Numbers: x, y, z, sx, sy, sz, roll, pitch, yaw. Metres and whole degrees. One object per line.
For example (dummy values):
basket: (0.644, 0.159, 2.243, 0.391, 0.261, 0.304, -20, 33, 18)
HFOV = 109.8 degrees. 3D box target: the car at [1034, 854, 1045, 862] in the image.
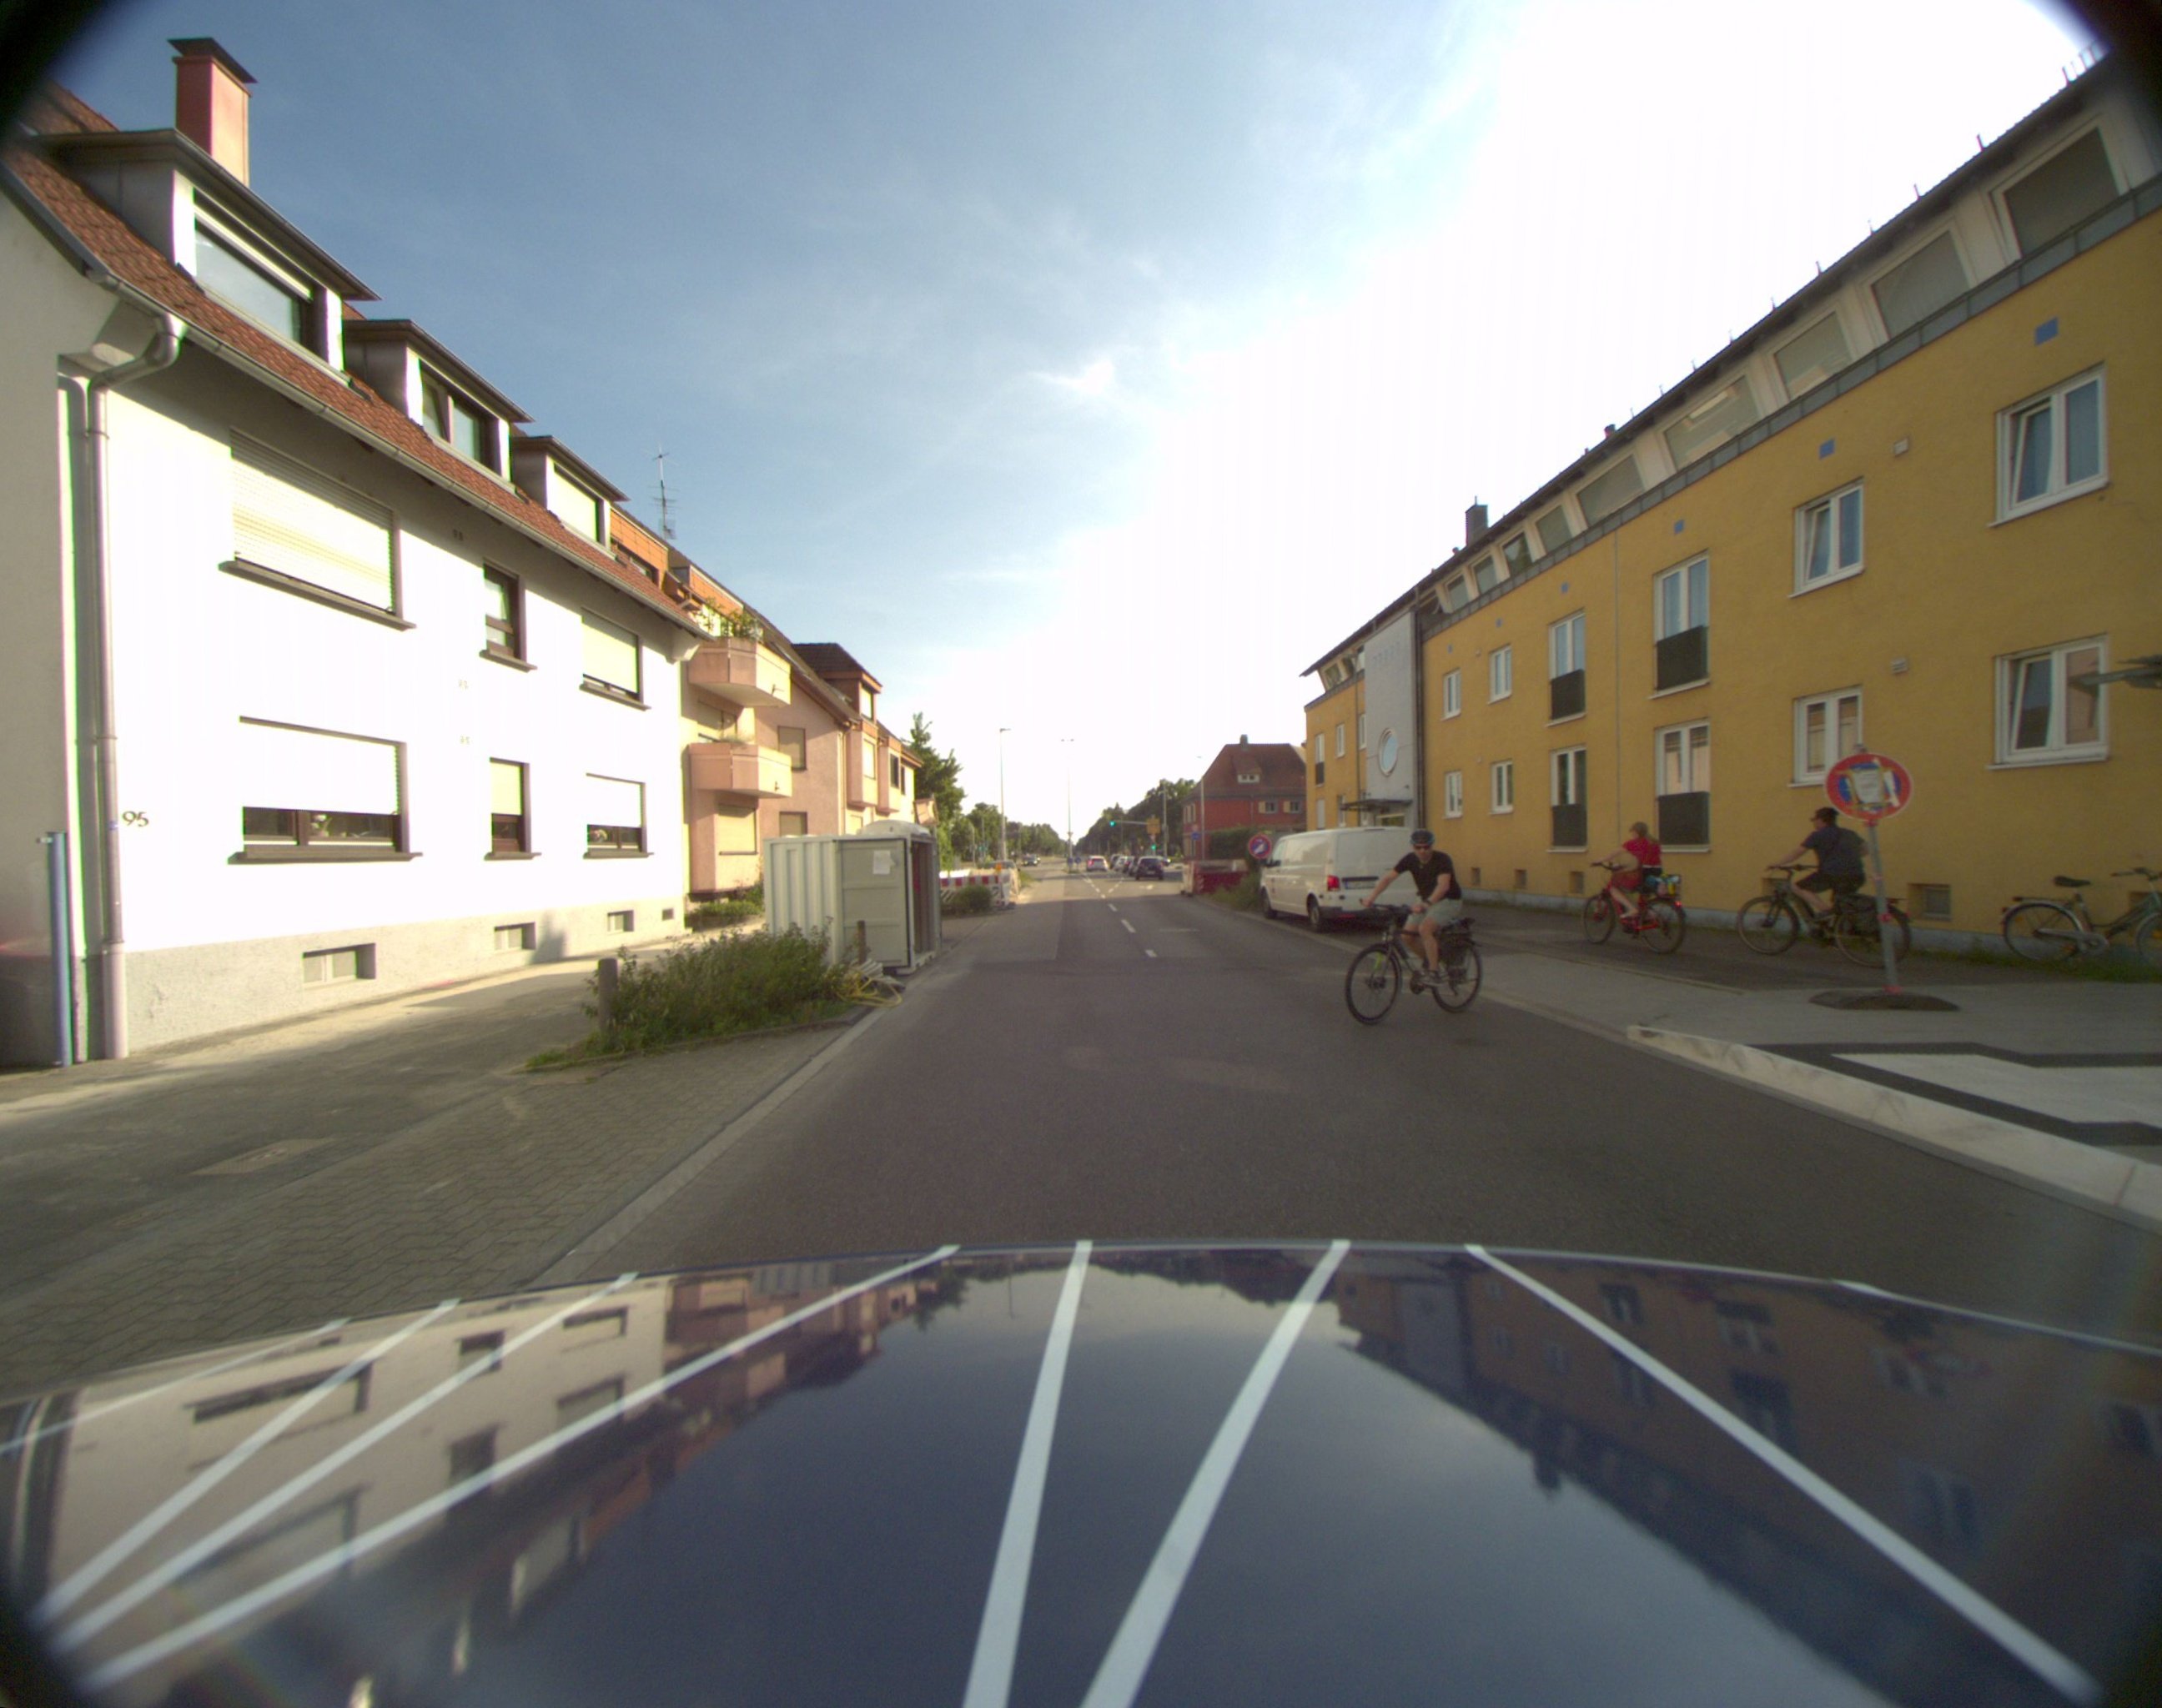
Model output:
car: (-7.310, 0.672, 133.469, 1.795, 1.433, 4.000, 1, 0, -1)

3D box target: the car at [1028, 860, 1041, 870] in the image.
car: (-6.785, 1.618, 111.184, 1.795, 1.433, 4.000, 1, 0, -1)

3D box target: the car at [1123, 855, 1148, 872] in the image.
car: (4.743, 0.805, 66.368, 1.795, 1.433, 3.999, -2, 0, -1)

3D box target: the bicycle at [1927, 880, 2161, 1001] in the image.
bicycle: (10.028, 0.808, 7.727, 0.718, 0.991, 1.907, -2, 0, 1)

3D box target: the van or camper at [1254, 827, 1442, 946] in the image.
van or camper: (5.203, 0.558, 15.684, 1.999, 1.991, 4.920, -2, 0, -2)

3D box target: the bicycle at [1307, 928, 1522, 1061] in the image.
bicycle: (3.010, 1.185, 6.786, 2.030, 0.849, 0.679, -2, 0, -30)

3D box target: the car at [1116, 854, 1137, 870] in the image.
car: (4.482, 0.777, 75.587, 1.795, 1.433, 4.000, -2, 0, -1)

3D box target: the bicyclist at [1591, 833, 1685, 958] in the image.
bicyclist: (7.469, 0.539, 10.220, 0.671, 1.594, 0.727, -2, 0, -5)

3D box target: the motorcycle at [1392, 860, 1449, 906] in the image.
motorcycle: (9.262, 0.772, 20.794, 0.583, 1.176, 1.877, -2, 0, -4)

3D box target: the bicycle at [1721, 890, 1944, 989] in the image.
bicycle: (8.527, 0.925, 8.757, 0.692, 0.907, 1.873, -2, 0, 0)

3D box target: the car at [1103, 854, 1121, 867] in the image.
car: (3.504, 0.712, 86.635, 1.795, 1.433, 3.999, -2, 0, -1)

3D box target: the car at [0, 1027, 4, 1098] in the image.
car: (-9.912, 1.087, 4.782, 3.749, 1.557, 1.795, -2, 0, 2)

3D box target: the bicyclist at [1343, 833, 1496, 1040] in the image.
bicyclist: (3.005, 0.674, 6.773, 0.879, 1.680, 0.844, -2, 1, -30)

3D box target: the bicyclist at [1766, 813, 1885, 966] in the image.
bicyclist: (8.508, 0.393, 8.705, 0.675, 1.659, 0.666, -2, 1, 0)

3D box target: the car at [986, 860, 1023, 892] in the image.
car: (-3.688, 1.017, 36.807, 1.636, 1.433, 3.407, -2, 0, -6)

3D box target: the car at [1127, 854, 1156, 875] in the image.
car: (4.466, 0.740, 56.616, 1.795, 1.433, 3.999, -2, 0, -1)

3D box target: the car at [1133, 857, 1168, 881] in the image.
car: (4.370, 0.923, 48.332, 1.795, 1.433, 4.000, 1, 0, -1)

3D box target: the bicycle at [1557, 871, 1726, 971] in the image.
bicycle: (7.487, 0.839, 10.292, 0.613, 1.154, 2.021, -2, 0, -6)

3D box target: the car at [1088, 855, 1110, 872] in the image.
car: (1.718, 0.883, 73.302, 1.982, 1.520, 4.000, -2, 0, -1)
